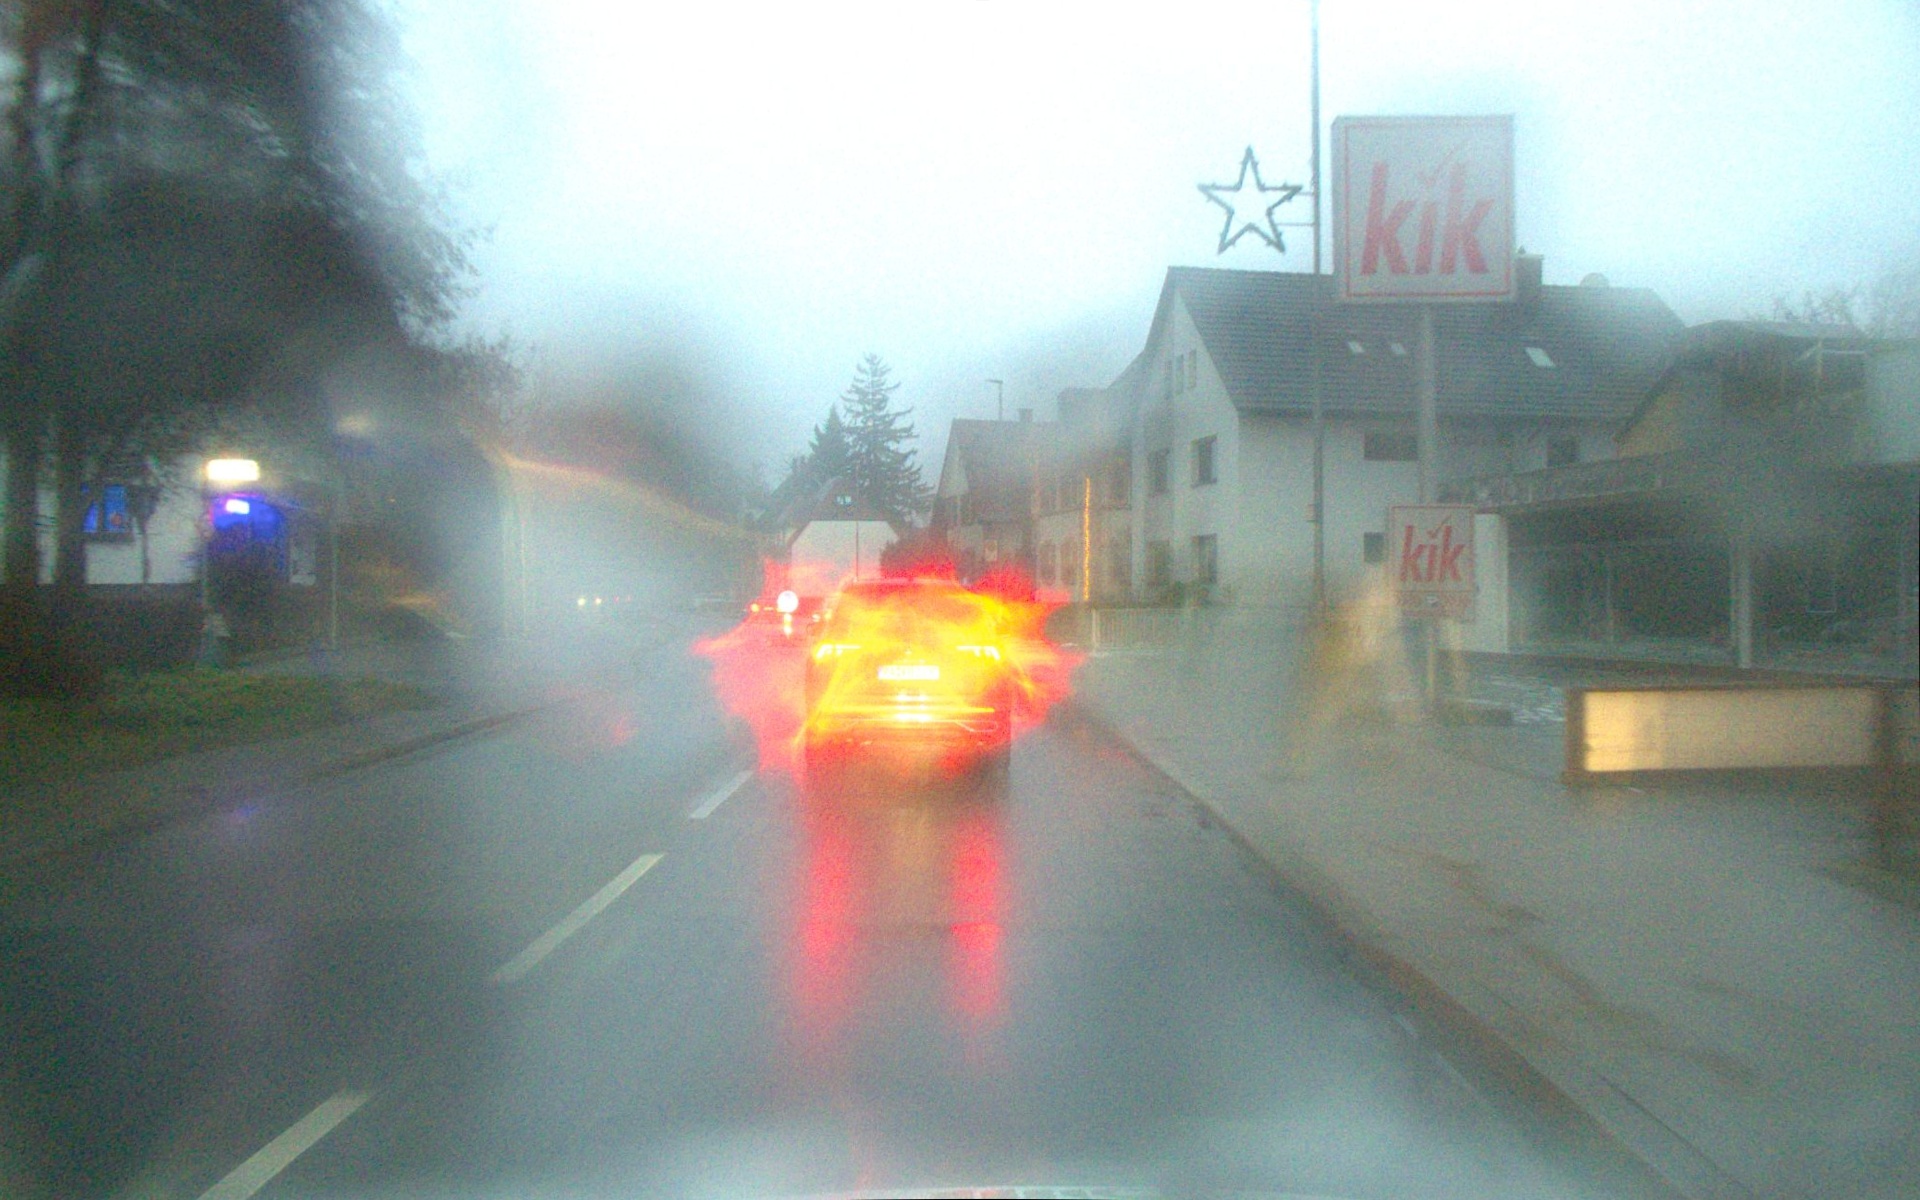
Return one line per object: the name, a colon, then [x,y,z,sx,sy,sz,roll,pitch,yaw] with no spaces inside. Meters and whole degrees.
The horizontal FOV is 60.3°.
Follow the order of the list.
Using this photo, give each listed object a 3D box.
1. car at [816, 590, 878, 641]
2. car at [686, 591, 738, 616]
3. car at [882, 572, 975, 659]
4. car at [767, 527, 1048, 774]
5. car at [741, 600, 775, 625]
car: [-4.615,0.633,66.985,2.265,1.972,5.011,0,0,-6]
car: [-20.933,0.267,139.753,4.175,2.049,1.804,-1,0,-14]
car: [-0.683,0.294,34.678,1.820,1.676,3.999,1,0,-2]
car: [-0.492,0.423,15.863,2.263,1.972,5.016,0,0,-2]
car: [-11.258,0.689,92.004,1.808,1.355,3.930,-1,0,-8]
